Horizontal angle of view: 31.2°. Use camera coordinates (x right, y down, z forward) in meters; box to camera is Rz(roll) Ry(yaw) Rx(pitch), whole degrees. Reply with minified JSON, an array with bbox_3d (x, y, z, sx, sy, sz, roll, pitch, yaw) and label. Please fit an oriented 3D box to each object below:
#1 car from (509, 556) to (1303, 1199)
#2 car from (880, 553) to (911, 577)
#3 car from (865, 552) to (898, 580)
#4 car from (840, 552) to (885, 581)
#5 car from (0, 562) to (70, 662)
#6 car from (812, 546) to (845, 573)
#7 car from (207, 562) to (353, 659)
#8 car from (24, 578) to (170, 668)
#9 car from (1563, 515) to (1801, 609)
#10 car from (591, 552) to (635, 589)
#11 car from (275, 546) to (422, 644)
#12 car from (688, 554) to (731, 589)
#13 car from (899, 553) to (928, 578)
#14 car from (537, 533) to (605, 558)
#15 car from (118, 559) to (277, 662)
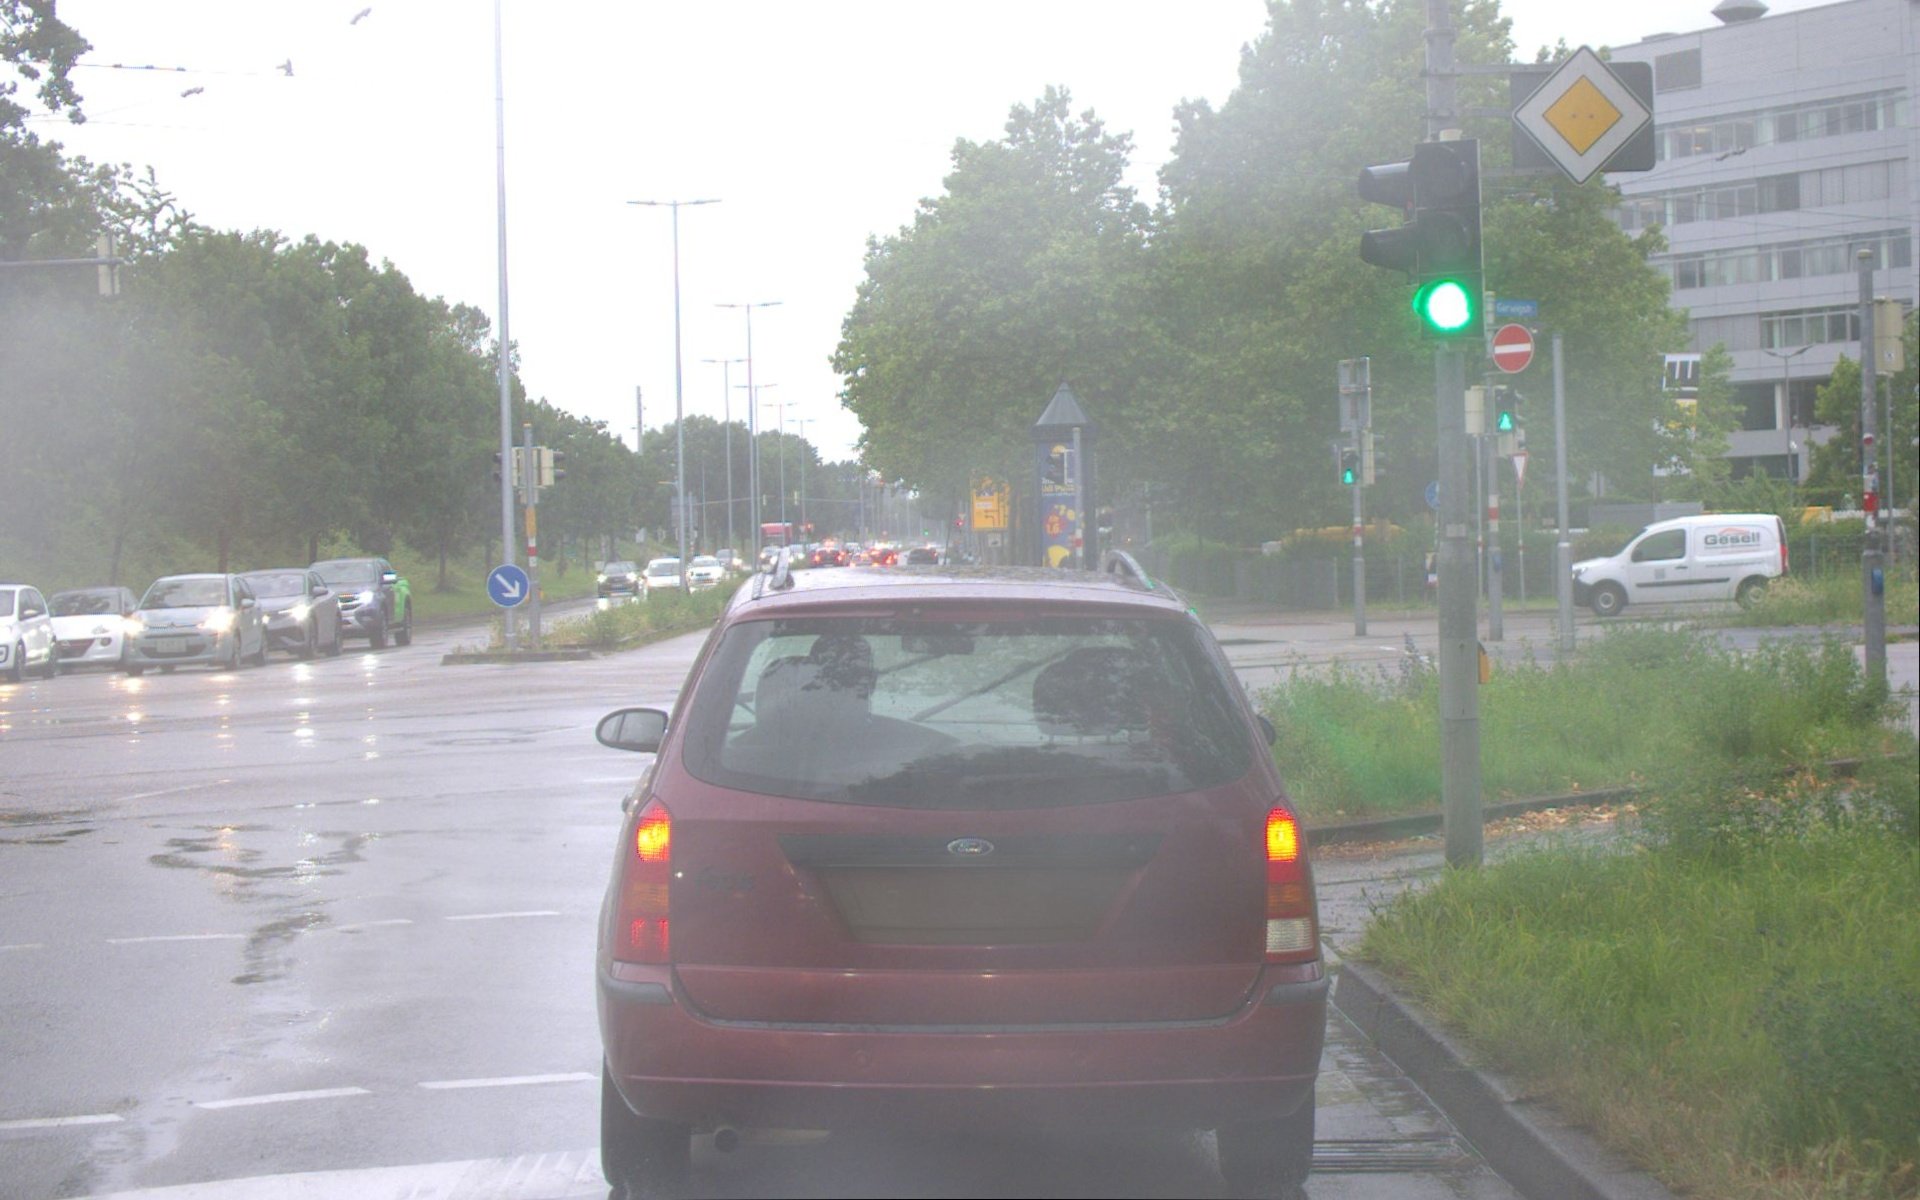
[{"bbox_3d":[-0.169,0.631,9.044,1.642,1.460,3.733,1,1,-2],"label":"car"},{"bbox_3d":[-4.263,-2.340,227.664,1.671,1.522,3.845,-1,1,4],"label":"car"},{"bbox_3d":[-4.342,-1.892,191.332,1.698,1.522,3.846,-1,1,1],"label":"car"},{"bbox_3d":[-5.176,-1.796,183.746,2.147,1.522,4.192,-1,1,1],"label":"car"},{"bbox_3d":[-14.780,0.185,52.248,1.638,1.447,3.788,-2,1,-3],"label":"car"},{"bbox_3d":[-7.624,-2.335,199.936,1.698,1.522,3.846,-1,1,1],"label":"car"},{"bbox_3d":[-11.925,0.167,60.553,1.762,1.580,4.814,-2,0,-2],"label":"car"},{"bbox_3d":[-14.680,0.372,58.637,1.590,1.399,3.823,-2,1,-2],"label":"car"},{"bbox_3d":[13.400,-0.712,63.999,4.231,1.720,1.741,0,1,8],"label":"car"},{"bbox_3d":[-16.208,-1.383,160.549,1.743,1.696,4.284,1,1,-2],"label":"car"},{"bbox_3d":[-12.134,-0.142,68.570,2.065,1.813,5.542,-2,1,-2],"label":"car"},{"bbox_3d":[-13.091,-1.497,180.026,1.963,1.696,4.284,-2,1,-1],"label":"car"},{"bbox_3d":[-2.839,-2.129,211.566,1.671,1.522,3.846,-1,1,1],"label":"car"},{"bbox_3d":[-27.228,-3.785,240.607,4.271,1.591,1.969,-3,1,-36],"label":"car"},{"bbox_3d":[-11.784,0.134,53.332,1.638,1.468,3.965,-2,1,-1],"label":"car"}]
